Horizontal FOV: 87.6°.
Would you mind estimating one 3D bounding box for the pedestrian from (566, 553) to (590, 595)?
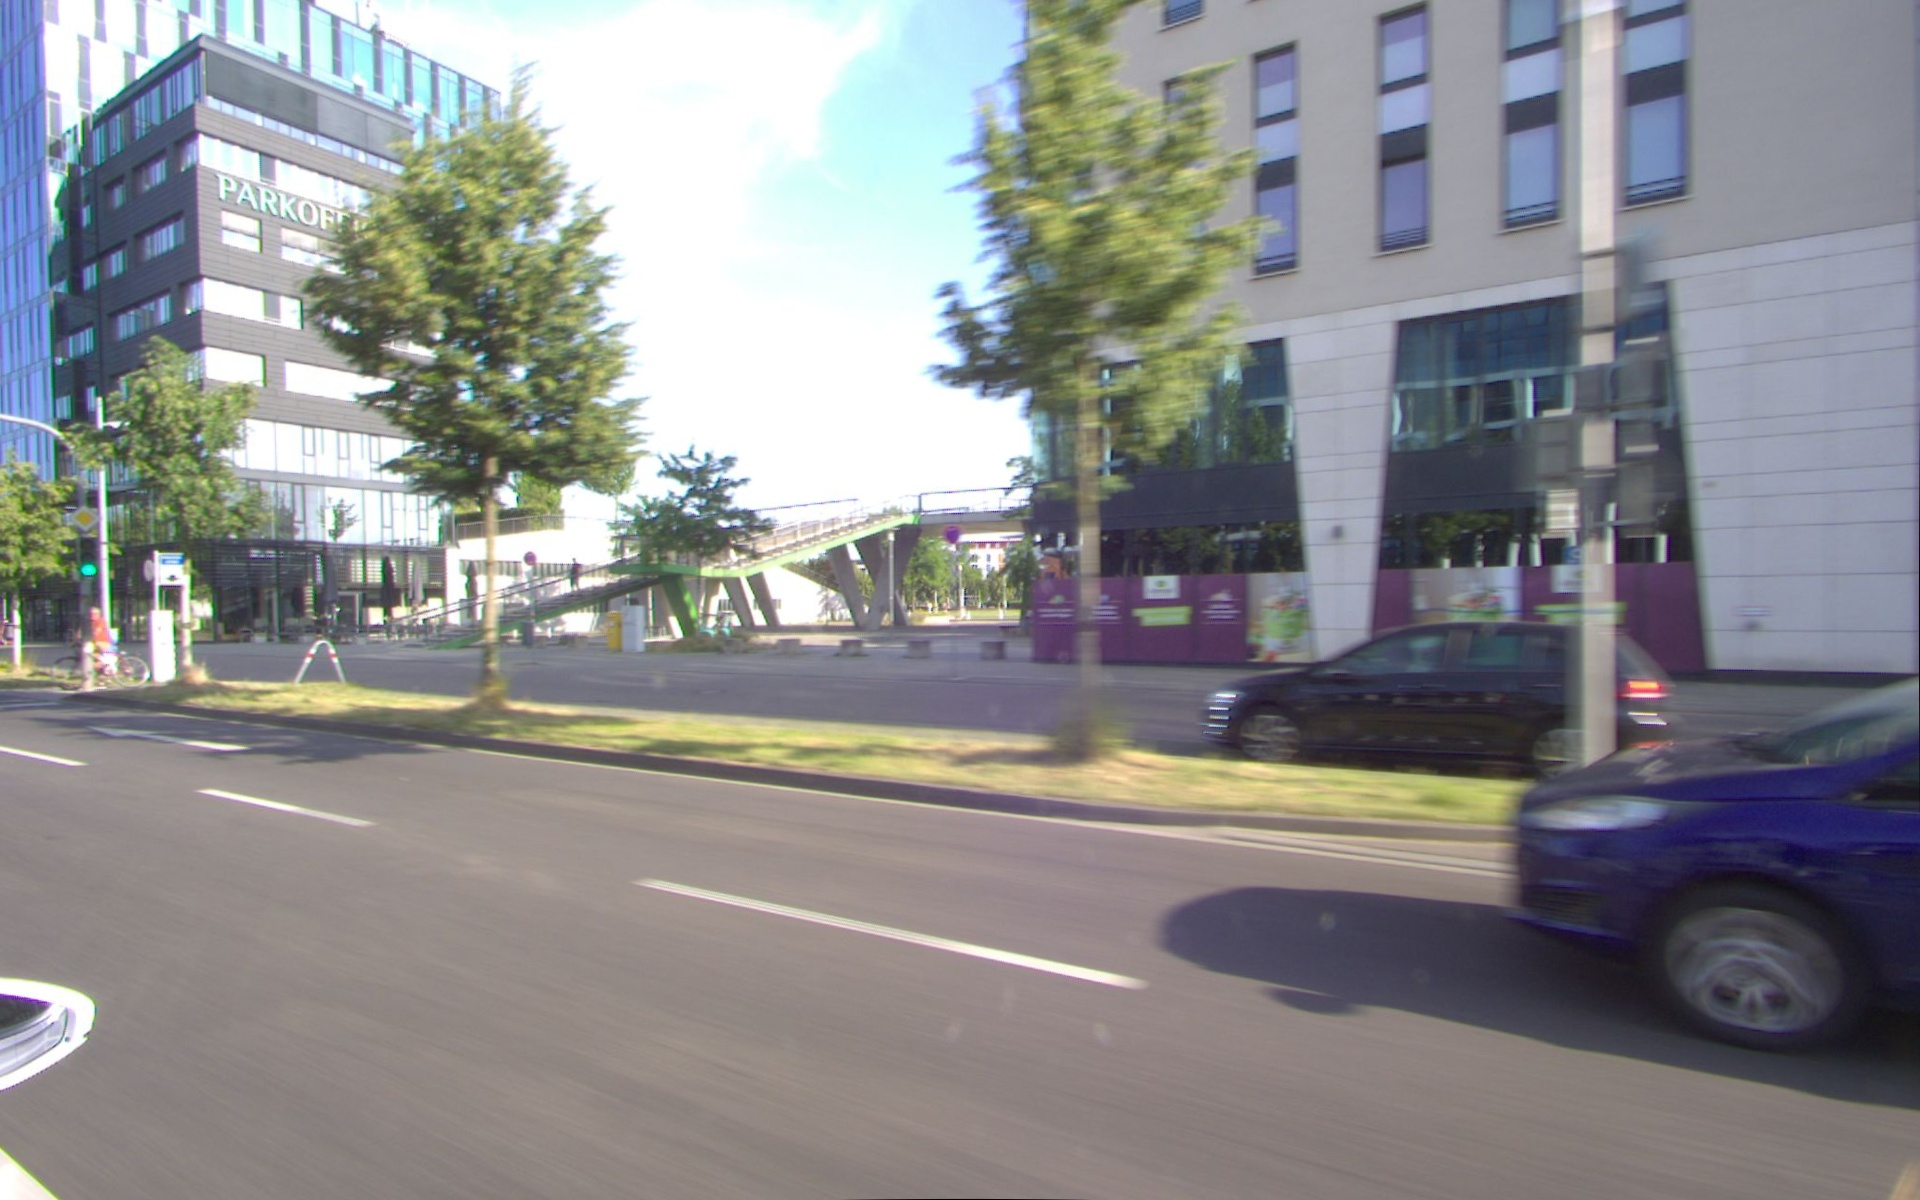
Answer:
[{"bbox_3d":[-16.451,-1.112,43.115,0.689,1.713,0.779,1,-2,-45],"label":"pedestrian"}]

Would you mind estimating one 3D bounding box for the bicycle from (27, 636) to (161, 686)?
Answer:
[{"bbox_3d":[-18.633,1.291,21.608,0.563,1.025,2.133,-1,-2,28],"label":"bicycle"}]

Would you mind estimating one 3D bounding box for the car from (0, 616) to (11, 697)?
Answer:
[{"bbox_3d":[-19.060,1.014,18.073,3.902,1.442,1.772,-1,-2,30],"label":"car"}]

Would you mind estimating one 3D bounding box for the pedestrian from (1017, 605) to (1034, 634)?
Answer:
[{"bbox_3d":[2.964,0.872,45.335,0.573,1.310,0.595,-1,-1,32],"label":"pedestrian"}]

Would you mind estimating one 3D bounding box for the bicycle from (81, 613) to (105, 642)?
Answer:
[{"bbox_3d":[-41.305,1.337,47.713,1.868,1.363,0.372,-1,-2,33],"label":"bicycle"}]

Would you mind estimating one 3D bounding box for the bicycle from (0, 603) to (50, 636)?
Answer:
[{"bbox_3d":[-51.727,1.082,55.077,0.548,1.768,2.423,-1,-2,41],"label":"bicycle"}]

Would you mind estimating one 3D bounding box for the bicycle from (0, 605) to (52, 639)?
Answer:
[{"bbox_3d":[-52.417,1.254,55.867,0.563,1.881,2.552,-1,-2,41],"label":"bicycle"}]

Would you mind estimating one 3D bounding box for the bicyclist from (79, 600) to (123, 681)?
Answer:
[{"bbox_3d":[-18.590,0.874,21.679,0.533,1.728,0.574,-1,-1,30],"label":"bicyclist"}]

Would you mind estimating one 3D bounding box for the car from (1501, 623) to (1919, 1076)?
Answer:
[{"bbox_3d":[4.111,0.827,3.504,3.850,1.442,1.558,0,-1,31],"label":"car"}]

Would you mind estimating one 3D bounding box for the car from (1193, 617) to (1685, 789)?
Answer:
[{"bbox_3d":[4.540,0.893,9.872,4.098,1.388,1.604,-1,-2,32],"label":"car"}]
